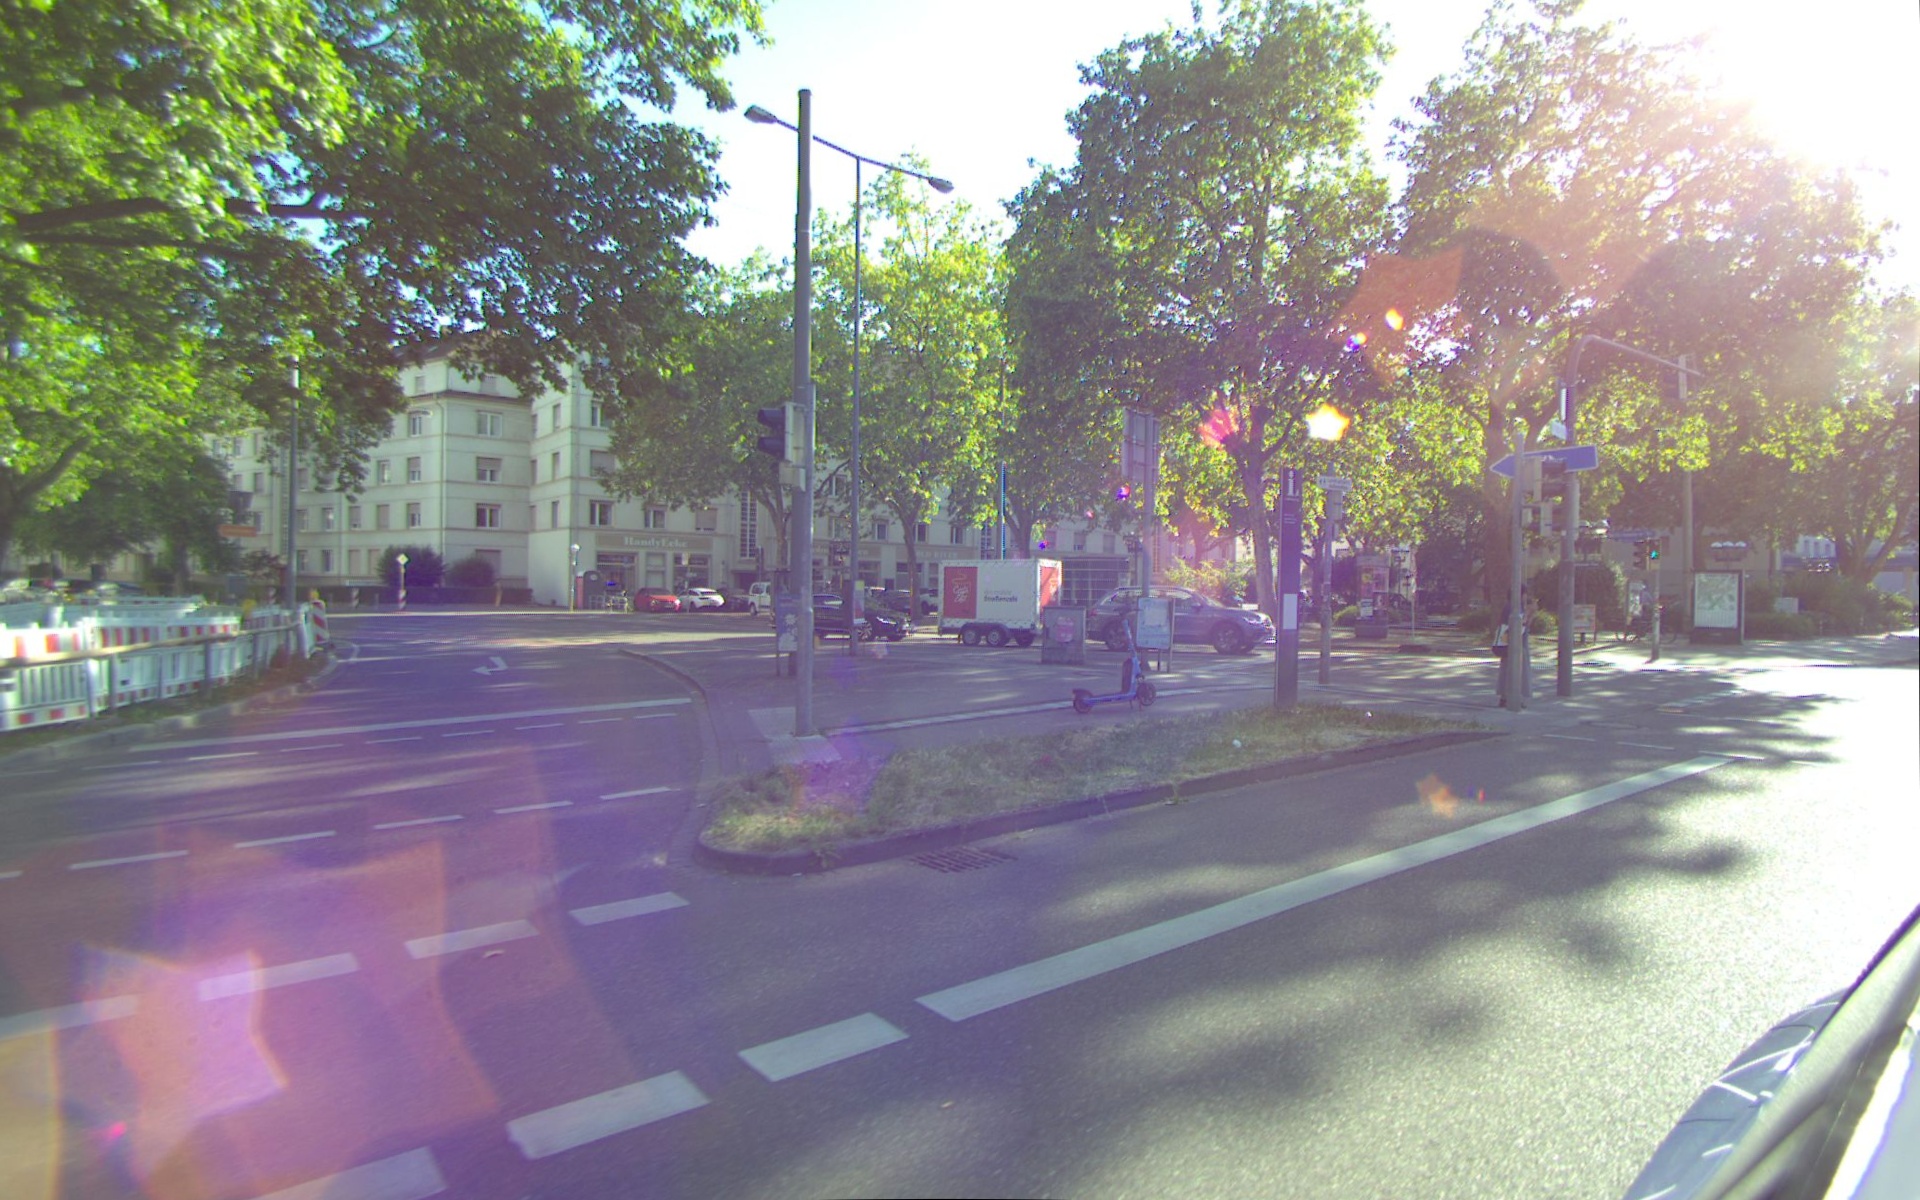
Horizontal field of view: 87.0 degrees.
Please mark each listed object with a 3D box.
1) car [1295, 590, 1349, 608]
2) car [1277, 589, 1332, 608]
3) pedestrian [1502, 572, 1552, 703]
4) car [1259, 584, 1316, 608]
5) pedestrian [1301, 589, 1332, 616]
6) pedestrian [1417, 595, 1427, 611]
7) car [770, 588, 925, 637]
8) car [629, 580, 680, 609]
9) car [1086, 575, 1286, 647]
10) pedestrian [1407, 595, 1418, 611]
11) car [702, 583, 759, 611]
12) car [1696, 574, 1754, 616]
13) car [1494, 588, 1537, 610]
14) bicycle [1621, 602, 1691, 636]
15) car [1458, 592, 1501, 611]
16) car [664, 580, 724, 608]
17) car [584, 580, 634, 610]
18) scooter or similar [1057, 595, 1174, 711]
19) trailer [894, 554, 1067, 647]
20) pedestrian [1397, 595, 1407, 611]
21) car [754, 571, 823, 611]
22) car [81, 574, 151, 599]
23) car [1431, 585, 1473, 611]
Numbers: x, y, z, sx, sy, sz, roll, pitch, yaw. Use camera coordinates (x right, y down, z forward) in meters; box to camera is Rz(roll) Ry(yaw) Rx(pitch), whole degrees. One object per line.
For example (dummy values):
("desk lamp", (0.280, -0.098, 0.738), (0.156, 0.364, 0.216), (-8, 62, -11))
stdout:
("car", (30.680, -0.100, 85.830), (1.746, 1.426, 3.997), (0, -1, -37))
("car", (28.641, -0.123, 84.263), (1.887, 1.541, 3.997), (0, -1, -37))
("pedestrian", (7.398, 0.479, 13.197), (0.427, 1.660, 0.603), (-1, -1, 44))
("car", (26.770, -0.315, 82.746), (2.010, 1.941, 3.997), (0, -1, -37))
("pedestrian", (16.866, 0.131, 47.941), (0.776, 1.256, 1.140), (0, -1, -39))
("pedestrian", (36.430, 0.208, 79.745), (0.627, 1.242, 0.533), (-1, -1, 35))
("car", (-3.395, 0.392, 30.383), (4.400, 1.378, 1.915), (-1, -1, 30))
("car", (-18.211, -0.333, 60.171), (1.788, 1.498, 4.357), (0, 3, -32))
("car", (5.618, 0.296, 25.289), (4.541, 1.661, 1.915), (-1, -1, 30))
("pedestrian", (35.826, 0.218, 80.120), (0.627, 1.242, 0.533), (-1, -1, 35))
("car", (-14.213, -0.235, 62.539), (1.730, 1.498, 4.352), (0, 3, -37))
("car", (52.300, -0.331, 69.149), (4.628, 2.777, 1.998), (0, -1, -38))
("car", (43.932, -0.057, 79.996), (4.107, 1.681, 1.708), (1, 0, -42))
("bicycle", (22.887, 0.613, 33.317), (1.806, 1.067, 0.530), (0, -1, 26))
("car", (42.056, 0.144, 81.905), (4.107, 1.521, 1.709), (1, 0, -42))
("car", (-16.275, -0.388, 61.754), (1.701, 1.498, 4.345), (0, 3, -43))
("car", (-20.339, -0.329, 58.580), (1.788, 1.498, 4.357), (0, 3, -32))
("scooter or similar", (1.820, 0.588, 11.813), (1.264, 1.273, 0.563), (0, 2, -30))
("trailer", (0.554, -0.025, 28.225), (4.478, 2.403, 1.894), (1, 0, 30))
("pedestrian", (35.465, 0.232, 81.155), (0.628, 1.242, 0.532), (-1, -1, 40))
("car", (-9.010, -0.514, 52.994), (1.730, 1.893, 4.352), (0, 3, -37))
("car", (-51.324, -0.798, 61.511), (4.400, 1.378, 1.915), (-1, -1, 30))
("car", (40.863, -0.165, 83.963), (4.107, 2.053, 1.708), (1, -1, -42))
